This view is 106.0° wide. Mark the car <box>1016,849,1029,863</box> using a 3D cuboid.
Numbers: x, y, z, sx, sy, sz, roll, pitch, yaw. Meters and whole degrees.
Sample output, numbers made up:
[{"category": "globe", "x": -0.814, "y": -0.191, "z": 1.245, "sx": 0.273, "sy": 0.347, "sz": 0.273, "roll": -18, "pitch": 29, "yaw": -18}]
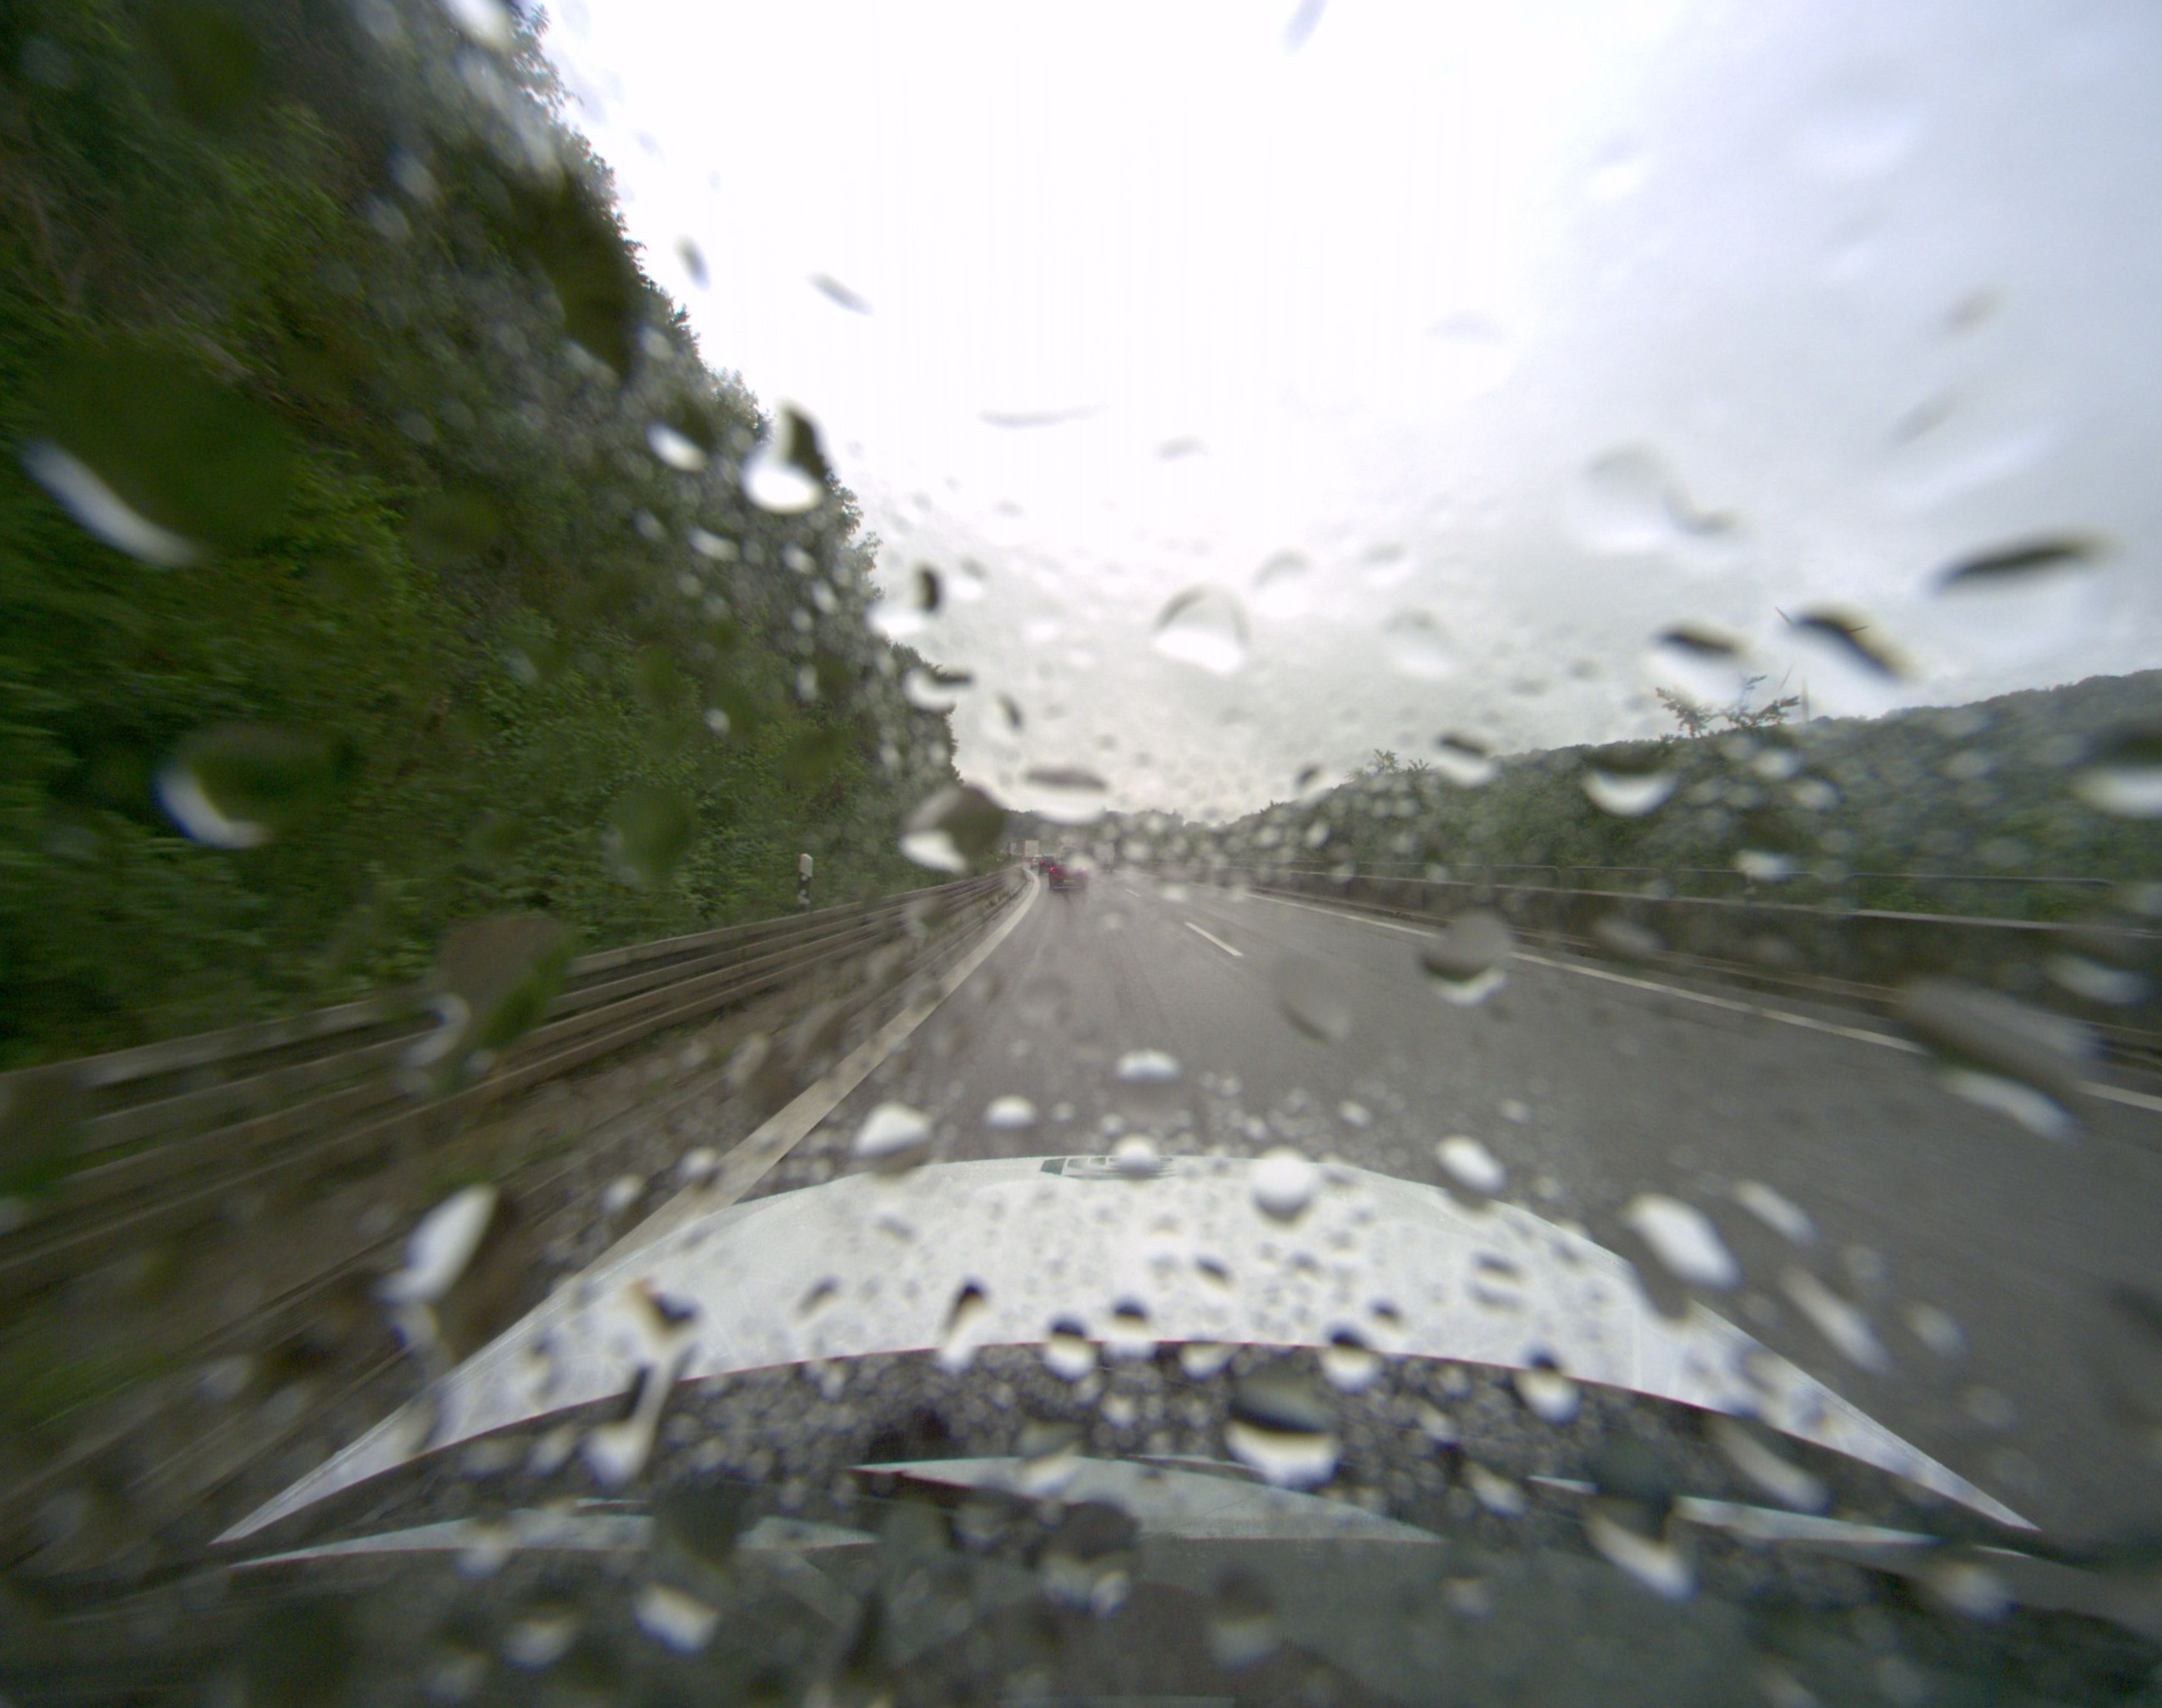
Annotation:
[{"category": "car", "x": -9.042, "y": 0.323, "z": 126.557, "sx": 1.990, "sy": 2.014, "sz": 3.994, "roll": 0, "pitch": -1, "yaw": -4}]

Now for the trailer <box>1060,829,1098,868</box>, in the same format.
[{"category": "trailer", "x": -0.364, "y": -0.555, "z": 93.281, "sx": 3.212, "sy": 3.999, "sz": 13.502, "roll": 2, "pitch": 0, "yaw": -4}]

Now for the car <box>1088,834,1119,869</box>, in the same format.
[{"category": "car", "x": 1.906, "y": -0.163, "z": 71.853, "sx": 2.200, "sy": 2.794, "sz": 7.378, "roll": 3, "pitch": -1, "yaw": -1}]

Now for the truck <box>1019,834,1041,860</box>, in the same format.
[{"category": "truck", "x": -9.360, "y": -1.220, "z": 148.417, "sx": 3.221, "sy": 4.682, "sz": 8.275, "roll": 0, "pitch": -1, "yaw": -8}]

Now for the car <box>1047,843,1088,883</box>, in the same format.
[{"category": "car", "x": -0.609, "y": 0.403, "z": 36.892, "sx": 1.753, "sy": 1.684, "sz": 3.998, "roll": 0, "pitch": 0, "yaw": -1}]

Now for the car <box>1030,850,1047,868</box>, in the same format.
[{"category": "car", "x": -4.422, "y": 0.508, "z": 84.077, "sx": 1.713, "sy": 1.817, "sz": 3.886, "roll": 0, "pitch": -1, "yaw": -5}]

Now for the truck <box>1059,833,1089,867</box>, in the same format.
[{"category": "truck", "x": -0.901, "y": -0.508, "z": 100.624, "sx": 3.214, "sy": 3.978, "sz": 5.430, "roll": 2, "pitch": -1, "yaw": -4}]

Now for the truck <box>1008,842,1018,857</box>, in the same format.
[{"category": "truck", "x": -15.496, "y": -1.044, "z": 184.576, "sx": 2.103, "sy": 3.420, "sz": 6.207, "roll": 0, "pitch": -1, "yaw": -7}]

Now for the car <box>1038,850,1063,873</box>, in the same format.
[{"category": "car", "x": -2.293, "y": 0.552, "z": 61.019, "sx": 1.818, "sy": 1.696, "sz": 3.997, "roll": 0, "pitch": 0, "yaw": -2}]
